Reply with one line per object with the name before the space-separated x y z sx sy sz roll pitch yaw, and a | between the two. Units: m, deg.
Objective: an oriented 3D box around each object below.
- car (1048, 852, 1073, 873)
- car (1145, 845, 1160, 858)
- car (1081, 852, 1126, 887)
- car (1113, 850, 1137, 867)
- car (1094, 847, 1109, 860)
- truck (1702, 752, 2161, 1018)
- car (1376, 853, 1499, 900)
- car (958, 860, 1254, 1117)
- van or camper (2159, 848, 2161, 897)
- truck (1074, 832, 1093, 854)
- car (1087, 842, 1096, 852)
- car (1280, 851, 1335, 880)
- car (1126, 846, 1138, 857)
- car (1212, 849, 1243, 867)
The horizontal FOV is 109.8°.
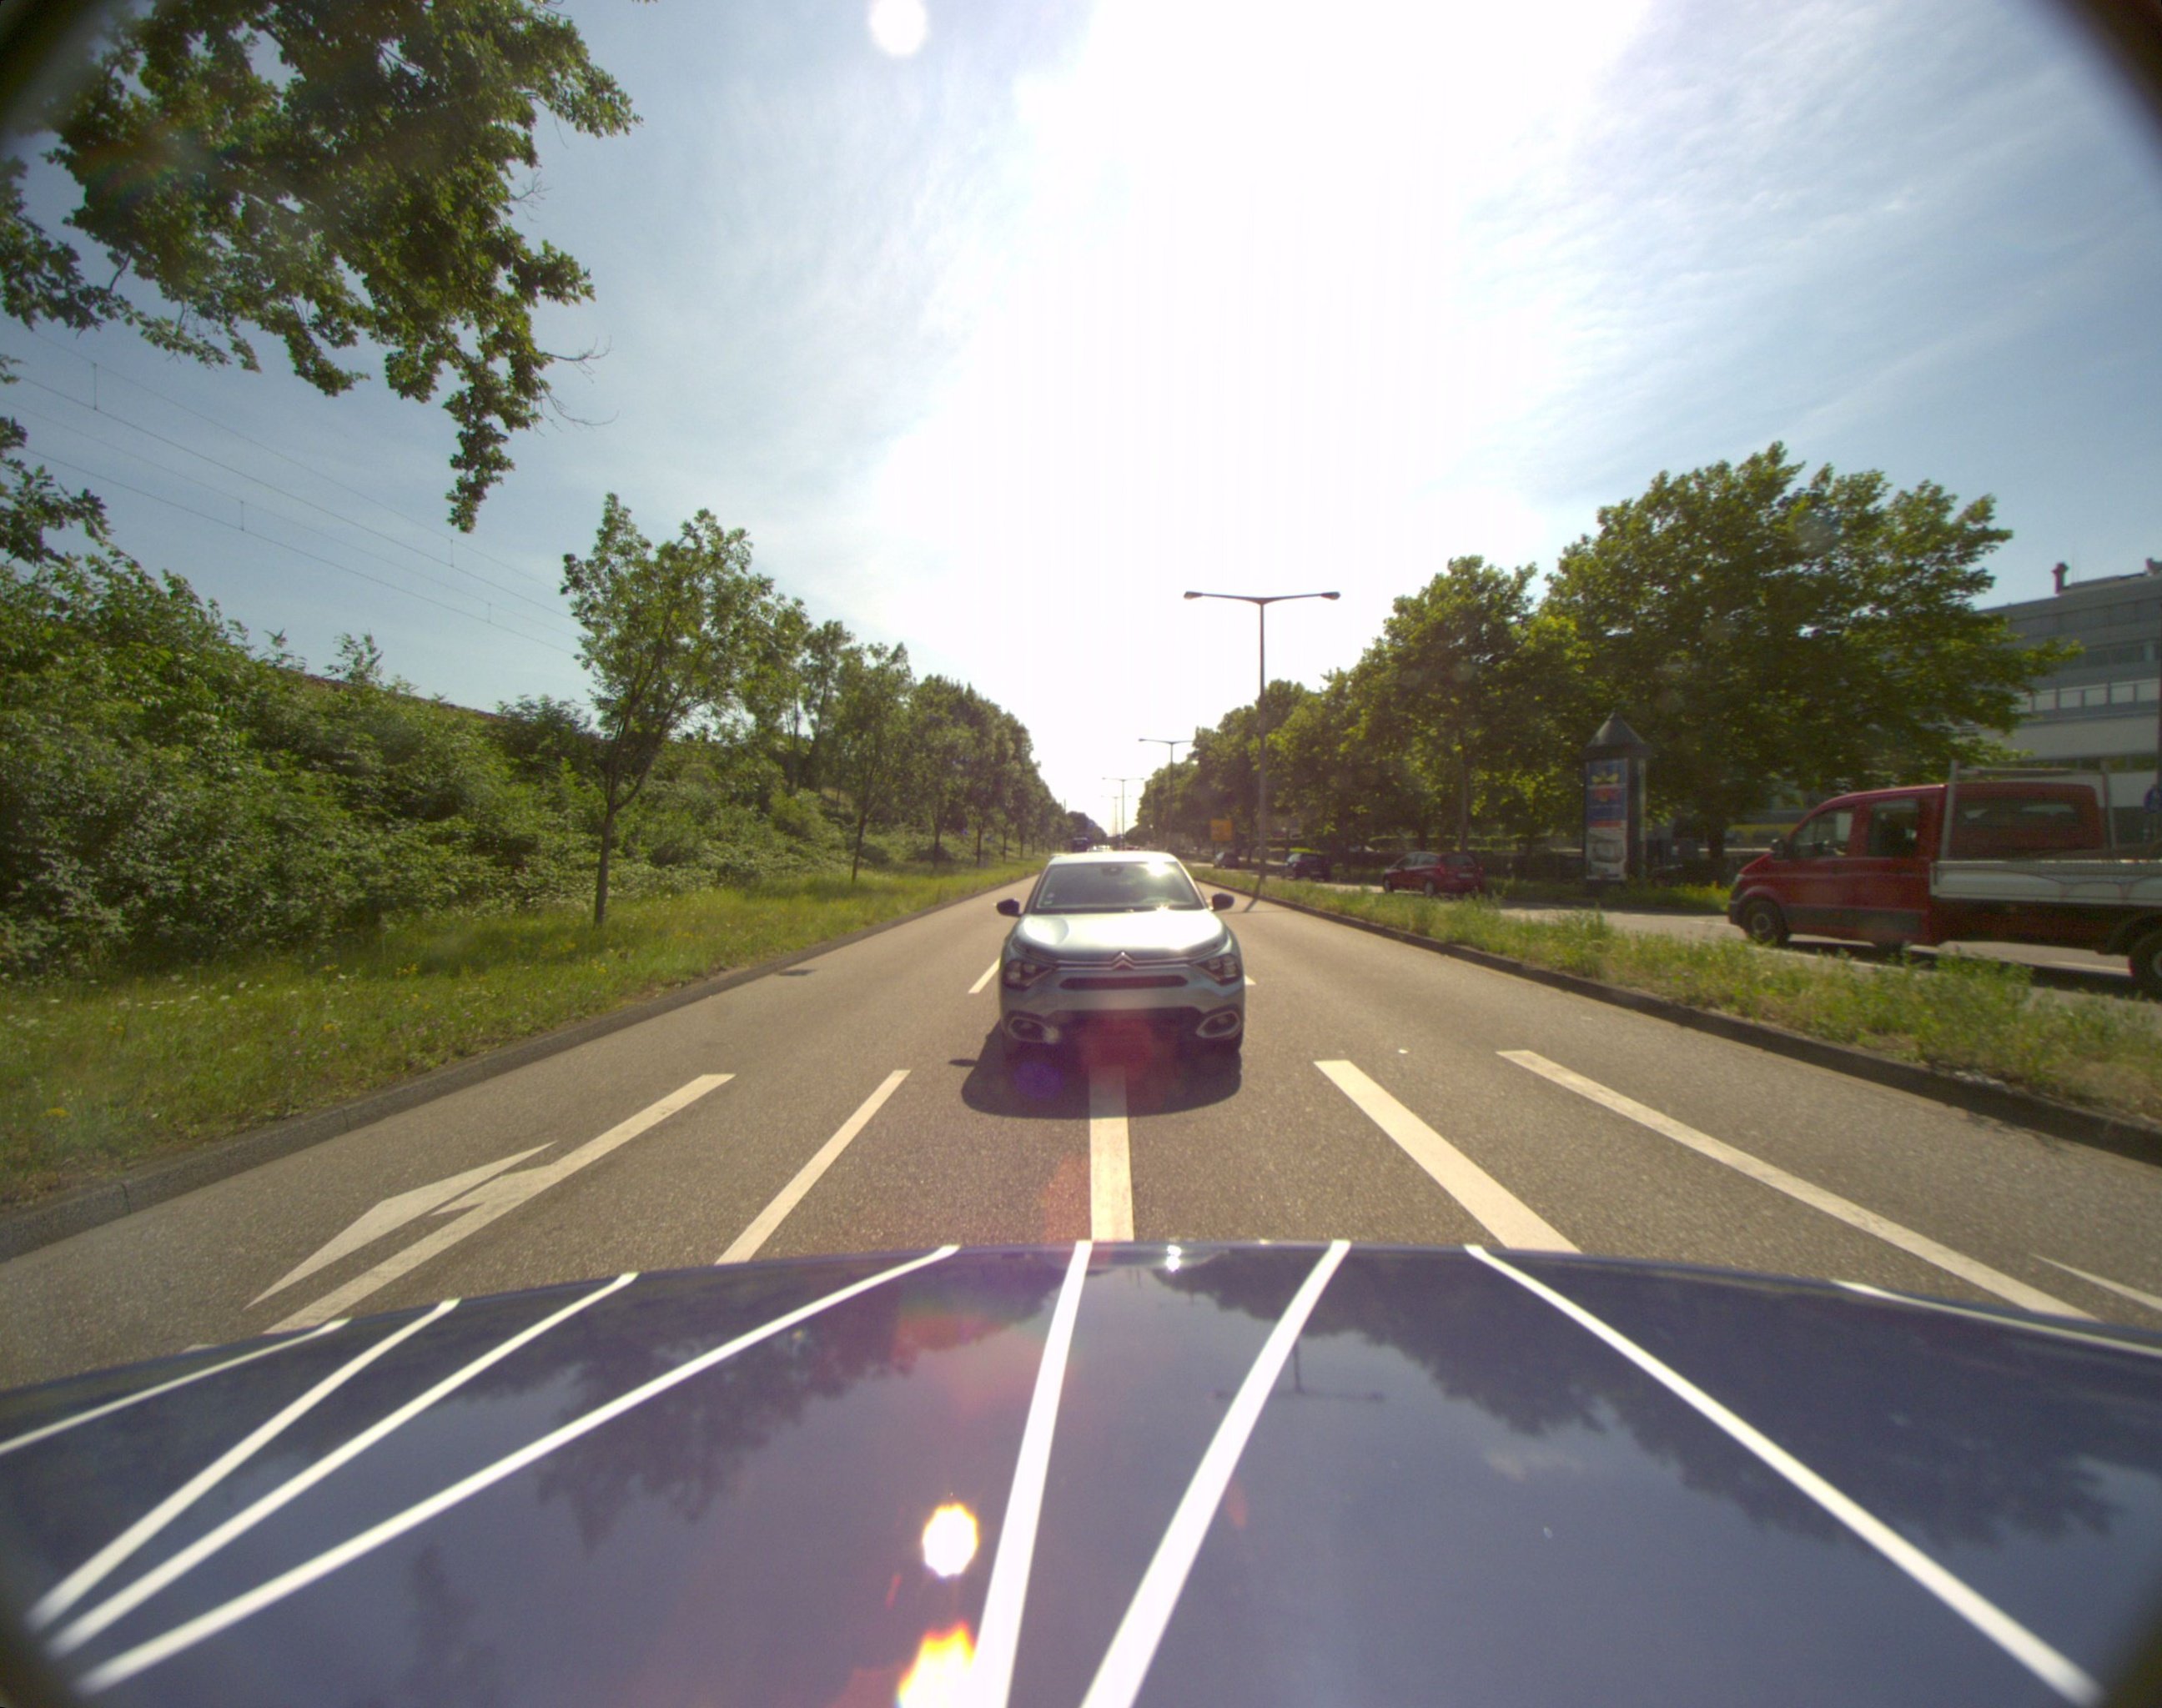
car | -1.562 0.604 56.544 1.705 1.429 3.677 -2 1 -2
car | 11.659 -0.411 124.062 1.998 2.002 4.000 -1 1 1
car | 1.034 0.691 36.131 1.998 1.492 4.000 -1 0 1
car | 3.739 0.366 64.982 1.730 1.354 4.067 -2 0 0
car | 2.478 -0.080 91.277 1.826 1.521 4.547 -1 0 2
truck | 11.188 0.258 9.001 2.144 2.461 7.129 -1 1 3
car | 11.570 0.706 24.964 1.854 1.426 3.763 0 0 -10
car | 0.238 0.859 7.103 1.826 1.521 4.752 -1 0 2
van or camper | 39.483 0.645 25.022 2.004 1.682 4.500 -1 1 -37
truck | 0.407 -1.694 116.073 2.775 3.248 7.482 0 1 1
car | 2.269 -1.508 163.178 1.998 2.002 4.000 -1 1 1
car | 11.796 0.572 39.821 1.843 1.414 3.895 1 1 2
car | 9.089 -0.433 135.537 1.998 2.002 4.000 -1 1 1
car | 12.693 0.312 66.143 1.844 1.414 4.221 1 0 0
